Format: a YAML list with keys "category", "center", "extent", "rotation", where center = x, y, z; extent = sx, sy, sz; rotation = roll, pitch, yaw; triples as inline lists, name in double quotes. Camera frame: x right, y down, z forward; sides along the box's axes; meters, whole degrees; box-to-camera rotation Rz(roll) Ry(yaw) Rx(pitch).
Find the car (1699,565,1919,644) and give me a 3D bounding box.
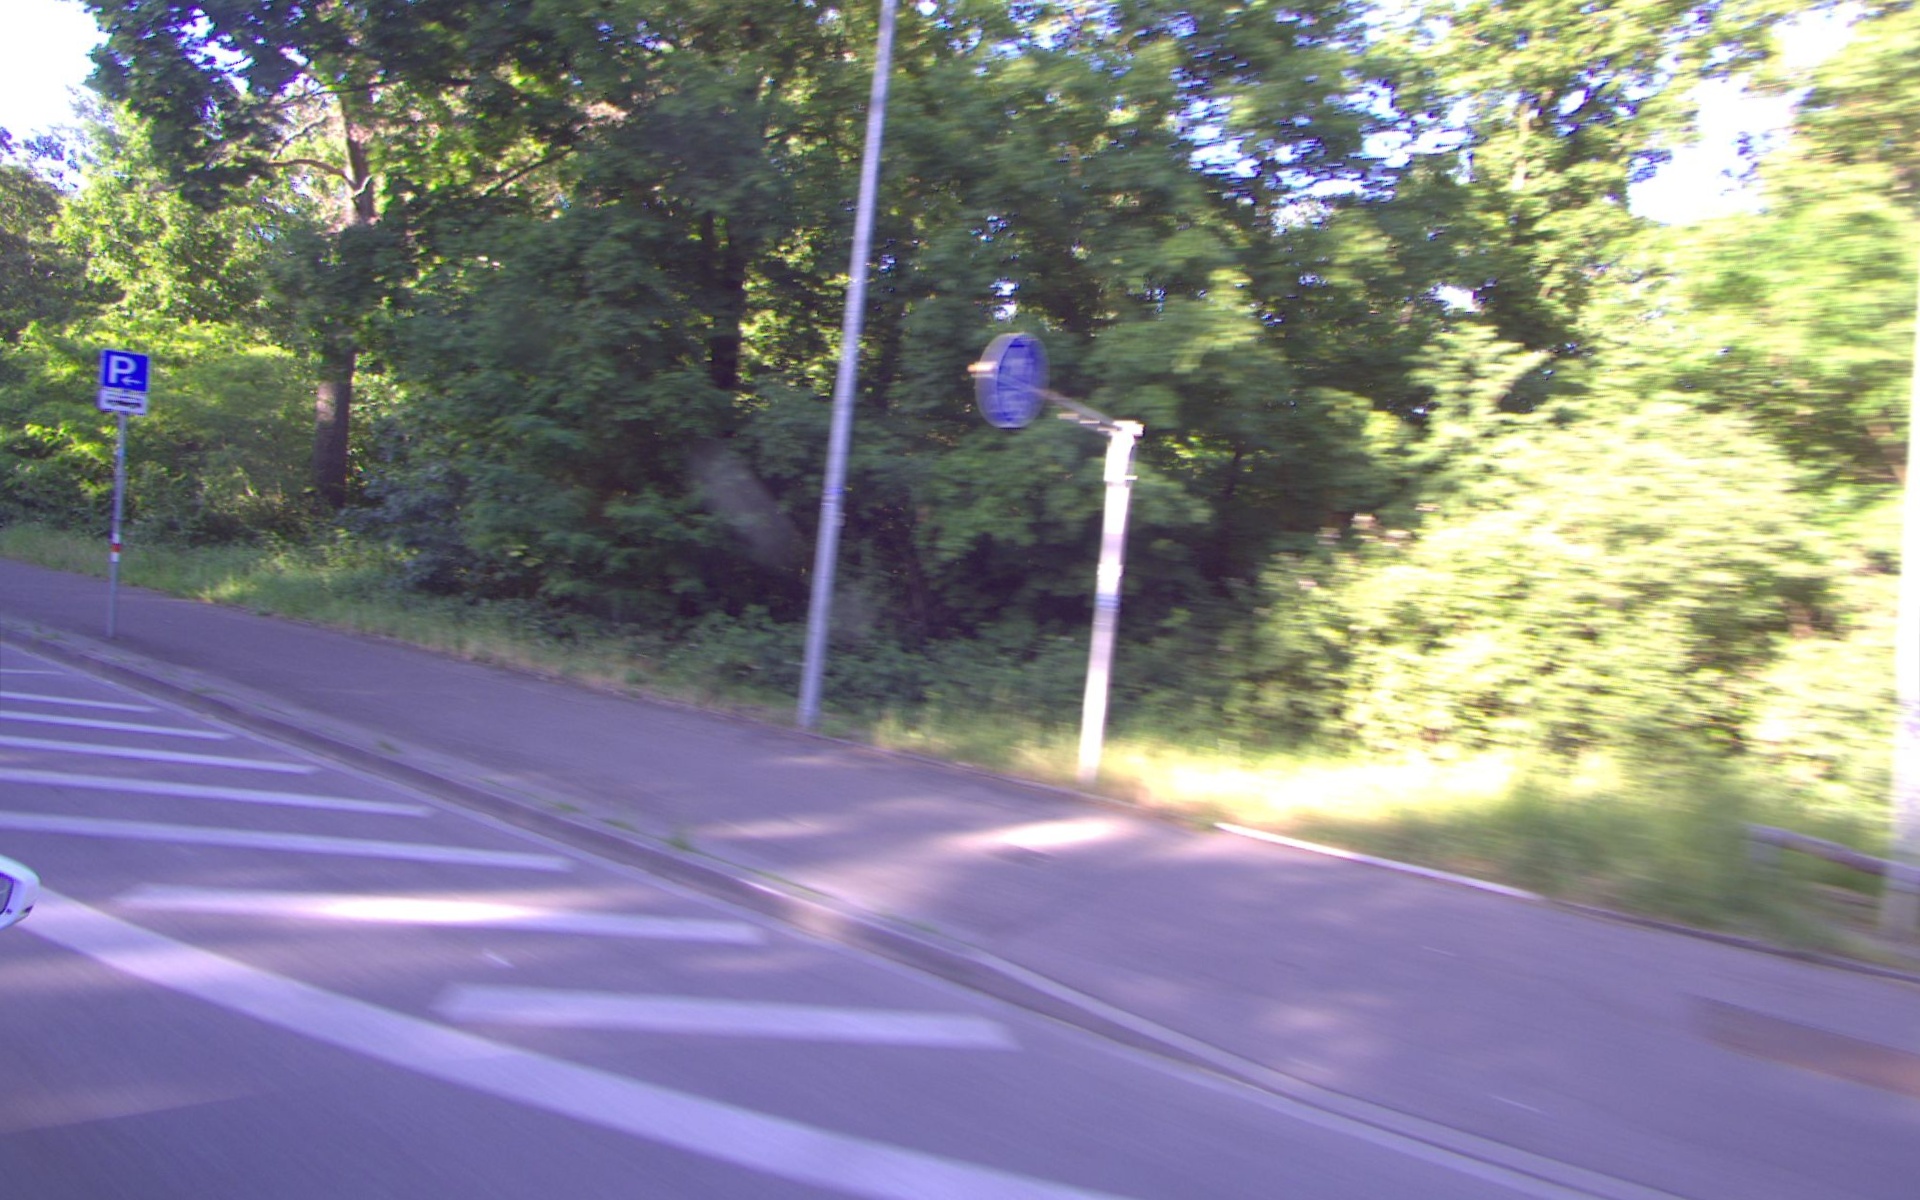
- category: "car"
  center: [19.523, 0.099, 23.209]
  extent: [3.674, 1.394, 1.613]
  rotation: [6, -1, 29]
